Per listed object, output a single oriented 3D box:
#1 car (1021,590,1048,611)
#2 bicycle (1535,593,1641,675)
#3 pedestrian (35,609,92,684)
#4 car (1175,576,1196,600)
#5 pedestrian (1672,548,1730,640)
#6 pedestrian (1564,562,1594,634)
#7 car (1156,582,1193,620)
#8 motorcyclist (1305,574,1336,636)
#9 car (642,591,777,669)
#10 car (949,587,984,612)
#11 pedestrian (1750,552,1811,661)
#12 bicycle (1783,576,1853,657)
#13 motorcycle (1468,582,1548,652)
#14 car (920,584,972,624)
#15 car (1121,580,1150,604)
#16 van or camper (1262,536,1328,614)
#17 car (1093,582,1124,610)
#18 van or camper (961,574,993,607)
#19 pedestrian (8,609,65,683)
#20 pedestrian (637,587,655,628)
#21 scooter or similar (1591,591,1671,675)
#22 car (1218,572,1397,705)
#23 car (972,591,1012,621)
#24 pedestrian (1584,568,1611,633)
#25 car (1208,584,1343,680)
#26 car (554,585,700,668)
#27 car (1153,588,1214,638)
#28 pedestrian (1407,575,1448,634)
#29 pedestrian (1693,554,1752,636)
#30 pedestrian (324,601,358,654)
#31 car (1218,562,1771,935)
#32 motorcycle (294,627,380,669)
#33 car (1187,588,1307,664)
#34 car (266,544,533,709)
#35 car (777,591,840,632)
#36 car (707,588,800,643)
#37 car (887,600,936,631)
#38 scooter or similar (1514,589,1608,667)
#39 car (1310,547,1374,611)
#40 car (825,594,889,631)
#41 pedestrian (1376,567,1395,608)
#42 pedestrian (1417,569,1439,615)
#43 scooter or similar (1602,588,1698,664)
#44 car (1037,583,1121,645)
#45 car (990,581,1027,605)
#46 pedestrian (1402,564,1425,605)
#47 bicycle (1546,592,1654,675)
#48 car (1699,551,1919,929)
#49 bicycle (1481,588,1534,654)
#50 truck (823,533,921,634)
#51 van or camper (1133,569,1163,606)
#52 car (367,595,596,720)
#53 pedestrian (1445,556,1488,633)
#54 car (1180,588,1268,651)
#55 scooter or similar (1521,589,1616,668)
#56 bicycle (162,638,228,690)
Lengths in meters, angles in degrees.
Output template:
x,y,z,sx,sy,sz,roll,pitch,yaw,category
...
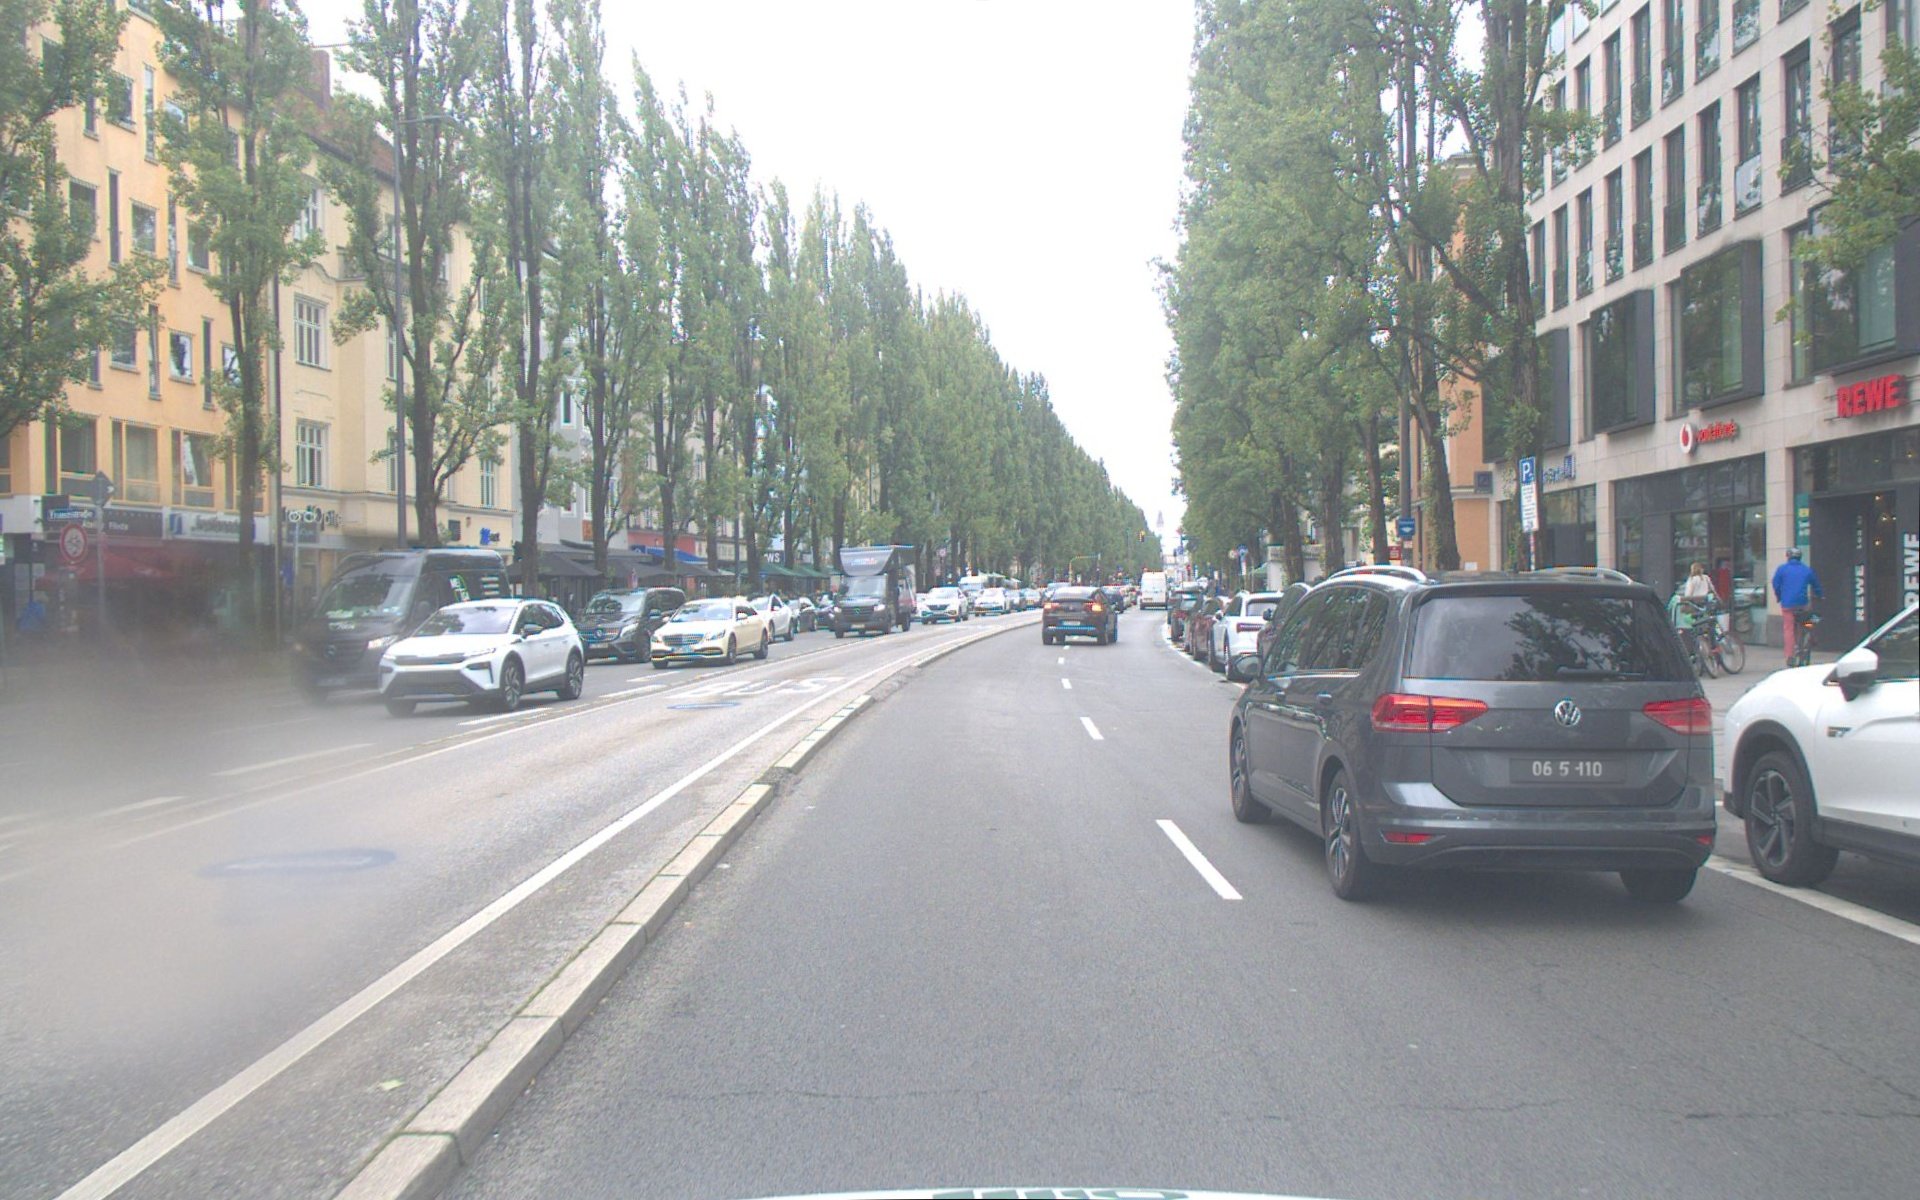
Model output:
x,y,z,sx,sy,sz,roll,pitch,yaw,category
5.425,0.048,120.544,1.675,1.438,3.726,-2,1,7,car
9.932,0.534,26.192,1.448,1.228,0.536,-2,0,-1,bicycle
-20.213,1.042,37.303,0.822,1.654,0.764,0,0,6,pedestrian
19.076,-0.998,139.929,1.766,2.027,4.003,0,0,7,car
14.917,-0.128,33.298,0.781,1.803,0.679,-2,0,-17,pedestrian
14.462,-0.058,38.648,0.540,1.666,0.557,-1,0,32,pedestrian
9.645,0.011,74.598,1.589,1.592,4.375,-1,1,7,car
8.414,0.112,38.594,0.552,1.431,0.766,-2,0,4,motorcyclist
-5.907,0.670,39.685,1.951,1.616,5.199,-3,0,5,car
0.460,-0.034,111.156,1.809,1.592,4.215,-2,0,8,car
12.783,0.100,25.771,0.597,1.647,0.795,-2,0,10,pedestrian
13.342,0.237,25.759,0.440,1.192,1.770,-2,0,10,bicycle
11.189,0.335,33.824,0.675,1.380,1.634,-2,0,-19,motorcycle
-0.633,0.166,78.365,1.821,1.741,4.540,-2,1,7,car
13.539,-0.600,127.437,1.951,1.747,4.004,-2,0,9,car
14.352,-1.069,71.083,2.408,3.166,4.720,-2,0,8,van or camper
9.047,-0.239,100.290,1.722,1.648,3.750,0,0,7,car
1.352,-0.768,129.832,1.951,2.501,4.255,-1,0,7,van or camper
-21.070,1.042,37.738,0.822,1.654,0.764,0,0,6,pedestrian
-14.887,0.354,78.420,0.624,1.894,0.648,-2,0,7,pedestrian
10.200,0.497,25.148,1.029,1.247,0.380,-2,0,-1,scooter or similar
4.891,0.511,23.889,1.884,1.730,4.652,0,0,3,car
1.913,0.334,98.746,1.898,1.671,4.467,-2,0,7,car
14.999,0.007,38.910,0.493,1.517,0.546,-1,0,32,pedestrian
5.614,0.510,29.969,1.772,1.526,4.808,-2,0,4,car
-8.595,0.634,43.267,1.951,1.896,5.716,-3,0,7,car
6.971,0.390,51.947,1.696,1.418,4.436,-2,0,6,car
13.001,0.125,46.014,0.817,1.604,0.938,-2,0,0,pedestrian
15.681,-0.103,34.025,0.781,1.649,0.715,-2,0,-17,pedestrian
-19.066,0.838,50.959,0.620,1.588,0.816,-1,0,9,pedestrian
2.703,0.640,9.434,1.725,1.642,4.183,0,0,-1,car
-15.935,1.228,42.342,2.020,1.054,0.485,0,0,-13,motorcycle
6.137,0.510,35.876,1.890,1.475,4.805,-2,0,2,car
-9.981,0.403,30.149,2.124,2.650,6.069,-2,0,7,car
-6.665,0.489,73.040,1.822,1.657,4.172,-2,0,8,car
-6.842,0.488,55.362,1.951,1.680,4.640,-2,0,7,car
-2.545,0.805,87.965,1.898,1.519,4.460,-2,0,7,car
9.818,0.452,27.043,1.405,1.222,0.311,-2,0,-2,scooter or similar
15.111,-0.832,65.254,1.861,2.368,4.827,-2,0,19,car
-4.387,0.511,71.045,1.898,1.459,4.542,-2,0,7,car
17.480,-0.527,68.001,0.658,1.641,0.641,-2,0,10,pedestrian
17.247,-0.289,60.976,0.714,1.654,0.805,-2,0,17,pedestrian
11.614,0.429,27.848,1.355,1.232,0.554,-2,0,5,scooter or similar
3.523,0.361,48.283,1.840,1.670,4.587,-1,1,11,car
3.246,-0.459,109.381,1.951,1.457,4.776,-2,1,7,car
18.502,-0.653,67.517,0.803,1.641,0.780,-2,0,10,pedestrian
9.920,0.511,25.650,1.448,1.228,0.536,-2,0,-1,bicycle
5.200,0.631,7.445,1.692,1.716,4.407,0,0,-1,car
10.518,0.390,31.747,0.537,1.210,1.449,-2,0,36,bicycle
-3.121,-0.615,60.833,2.242,3.380,7.163,-2,0,7,truck
13.284,-0.876,116.725,1.991,2.519,4.003,-1,-1,7,van or camper
-7.116,0.795,25.116,1.869,1.631,4.358,-2,0,5,car
12.877,-0.146,42.053,0.800,1.901,0.939,-2,0,4,pedestrian
6.611,0.462,41.764,1.808,1.453,4.428,-1,1,4,car
9.826,0.460,26.715,1.405,1.222,0.311,-2,0,-2,scooter or similar
-15.937,1.327,34.494,0.449,0.980,1.881,-1,0,1,bicycle
